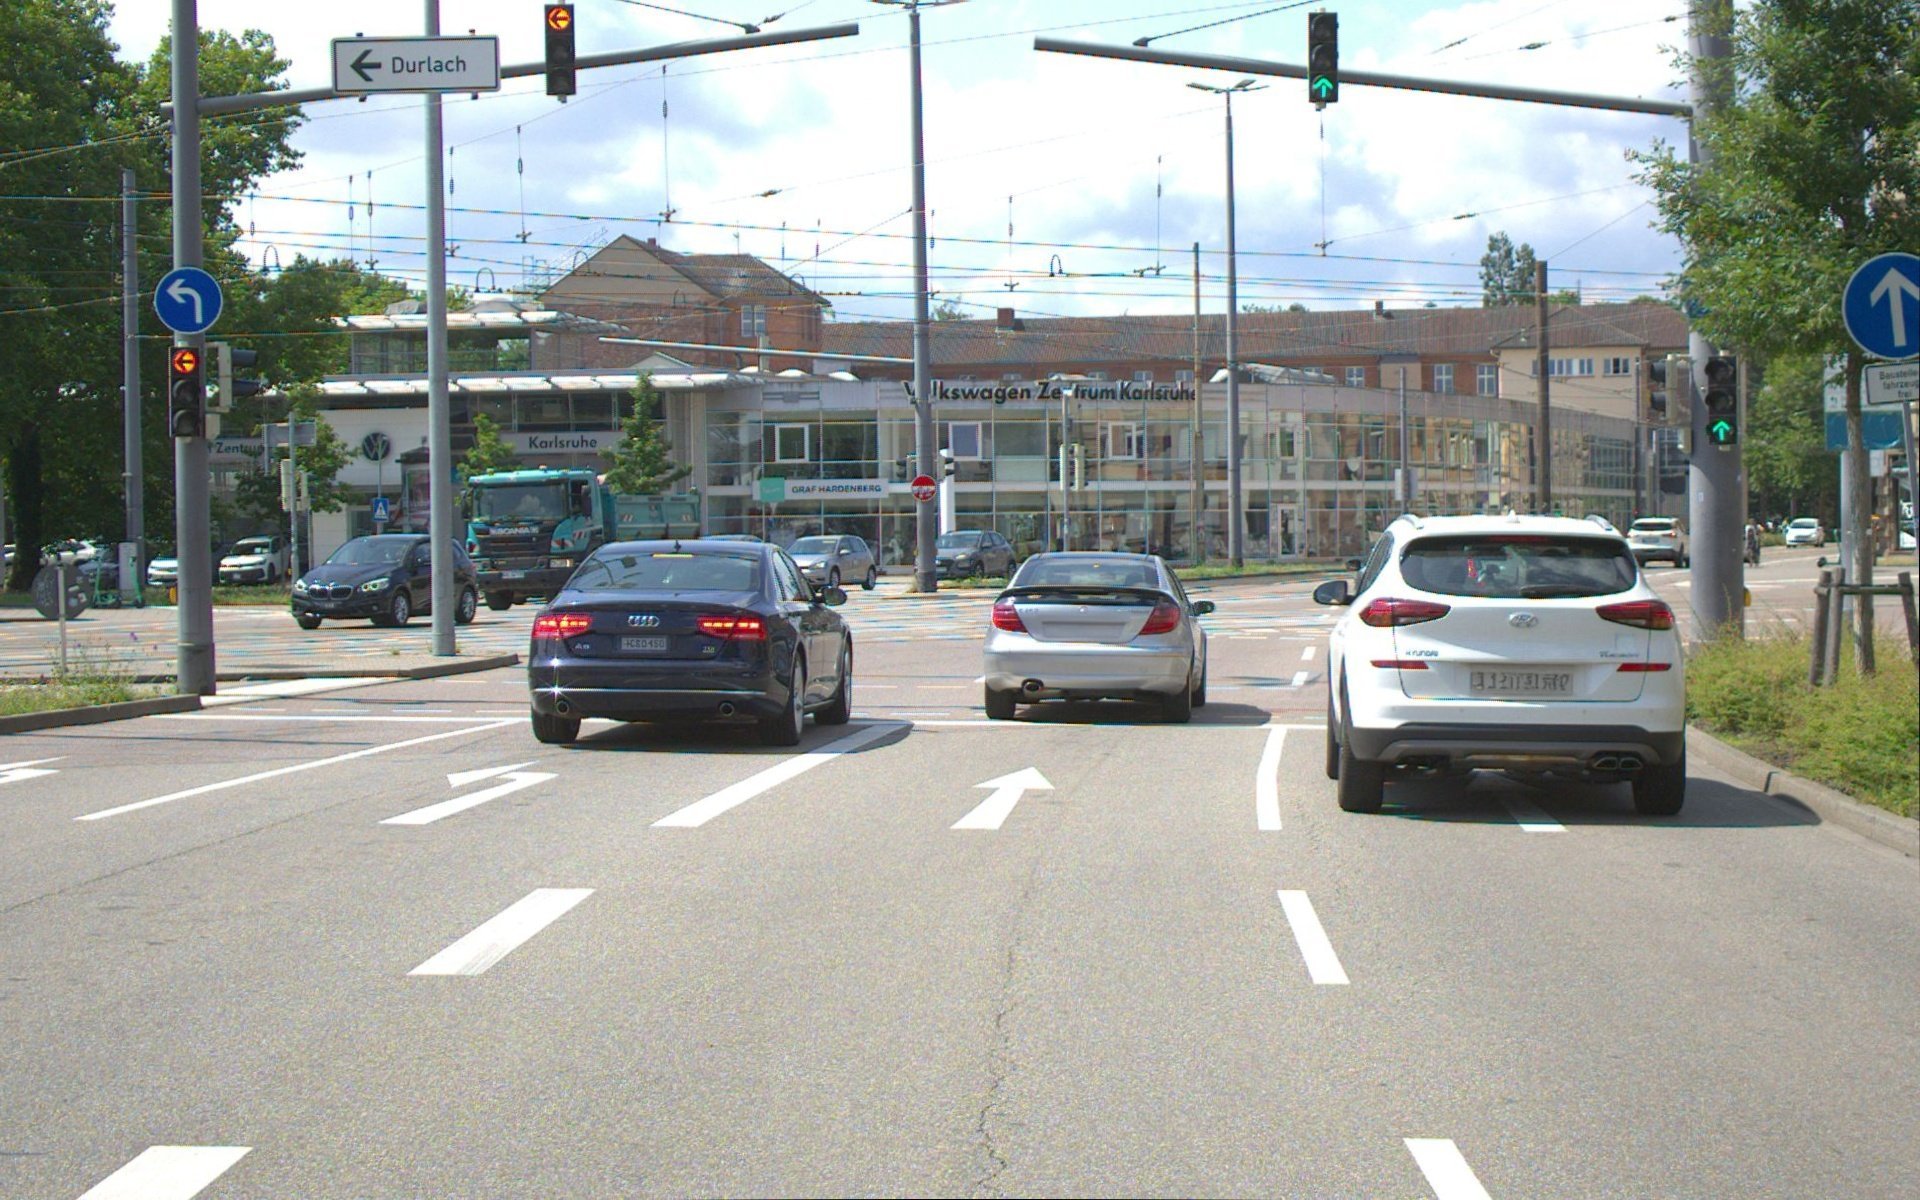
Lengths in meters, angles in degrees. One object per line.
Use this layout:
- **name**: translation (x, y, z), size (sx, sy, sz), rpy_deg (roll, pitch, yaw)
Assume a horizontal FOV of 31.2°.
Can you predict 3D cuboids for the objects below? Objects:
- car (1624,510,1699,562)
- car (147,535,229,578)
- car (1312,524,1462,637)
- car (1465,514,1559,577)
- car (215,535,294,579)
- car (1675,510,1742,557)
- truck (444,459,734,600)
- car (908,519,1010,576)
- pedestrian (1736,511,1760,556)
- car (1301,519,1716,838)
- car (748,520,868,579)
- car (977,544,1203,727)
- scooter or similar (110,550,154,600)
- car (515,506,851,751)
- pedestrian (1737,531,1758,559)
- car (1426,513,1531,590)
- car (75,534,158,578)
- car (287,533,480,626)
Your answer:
- **car**: translation (22.837, -2.079, 111.865), size (1.883, 1.635, 3.953), rpy_deg (0, 1, 19)
- **car**: translation (-28.636, -1.600, 127.629), size (1.993, 1.568, 4.178), rpy_deg (0, 0, 1)
- **car**: translation (5.747, -0.296, 45.936), size (1.882, 1.414, 3.956), rpy_deg (-1, 1, 8)
- **car**: translation (14.944, -1.484, 92.863), size (1.883, 1.635, 3.954), rpy_deg (0, 1, 18)
- **car**: translation (-26.080, -1.589, 127.253), size (1.993, 1.568, 4.178), rpy_deg (0, 0, 1)
- **car**: translation (27.248, -2.436, 125.068), size (1.883, 1.635, 3.953), rpy_deg (0, 1, 19)
- **truck**: translation (-7.864, -1.549, 74.396), size (2.888, 2.842, 8.785), rpy_deg (-1, 1, 18)
- **car**: translation (-0.006, -1.486, 96.687), size (1.719, 1.526, 4.118), rpy_deg (-1, 1, 17)
- **pedestrian**: translation (25.746, -2.175, 112.305), size (0.693, 1.452, 0.679), rpy_deg (0, 0, 19)
- **car**: translation (3.066, 0.363, 20.030), size (1.881, 1.635, 4.233), rpy_deg (-1, 1, 2)
- **car**: translation (-3.832, -1.309, 87.645), size (1.654, 1.429, 4.268), rpy_deg (-1, 1, 18)
- **car**: translation (1.177, 0.246, 29.474), size (1.741, 1.387, 4.179), rpy_deg (1, 2, 5)
- **scooter or similar**: translation (-18.757, -0.568, 77.901), size (0.378, 1.112, 1.094), rpy_deg (0, 0, 23)
- **car**: translation (-1.956, 0.135, 25.684), size (1.928, 1.635, 4.792), rpy_deg (-1, 1, 2)
- **pedestrian**: translation (25.709, -1.786, 112.222), size (0.525, 0.903, 1.559), rpy_deg (0, 0, 19)
- **car**: translation (11.581, -1.096, 76.637), size (1.882, 1.635, 3.954), rpy_deg (0, 1, 15)
- **car**: translation (-31.301, -1.612, 127.723), size (1.993, 1.568, 4.178), rpy_deg (0, 0, 1)
- **car**: translation (-9.625, -0.369, 57.730), size (1.654, 1.464, 4.151), rpy_deg (-1, 1, 14)
